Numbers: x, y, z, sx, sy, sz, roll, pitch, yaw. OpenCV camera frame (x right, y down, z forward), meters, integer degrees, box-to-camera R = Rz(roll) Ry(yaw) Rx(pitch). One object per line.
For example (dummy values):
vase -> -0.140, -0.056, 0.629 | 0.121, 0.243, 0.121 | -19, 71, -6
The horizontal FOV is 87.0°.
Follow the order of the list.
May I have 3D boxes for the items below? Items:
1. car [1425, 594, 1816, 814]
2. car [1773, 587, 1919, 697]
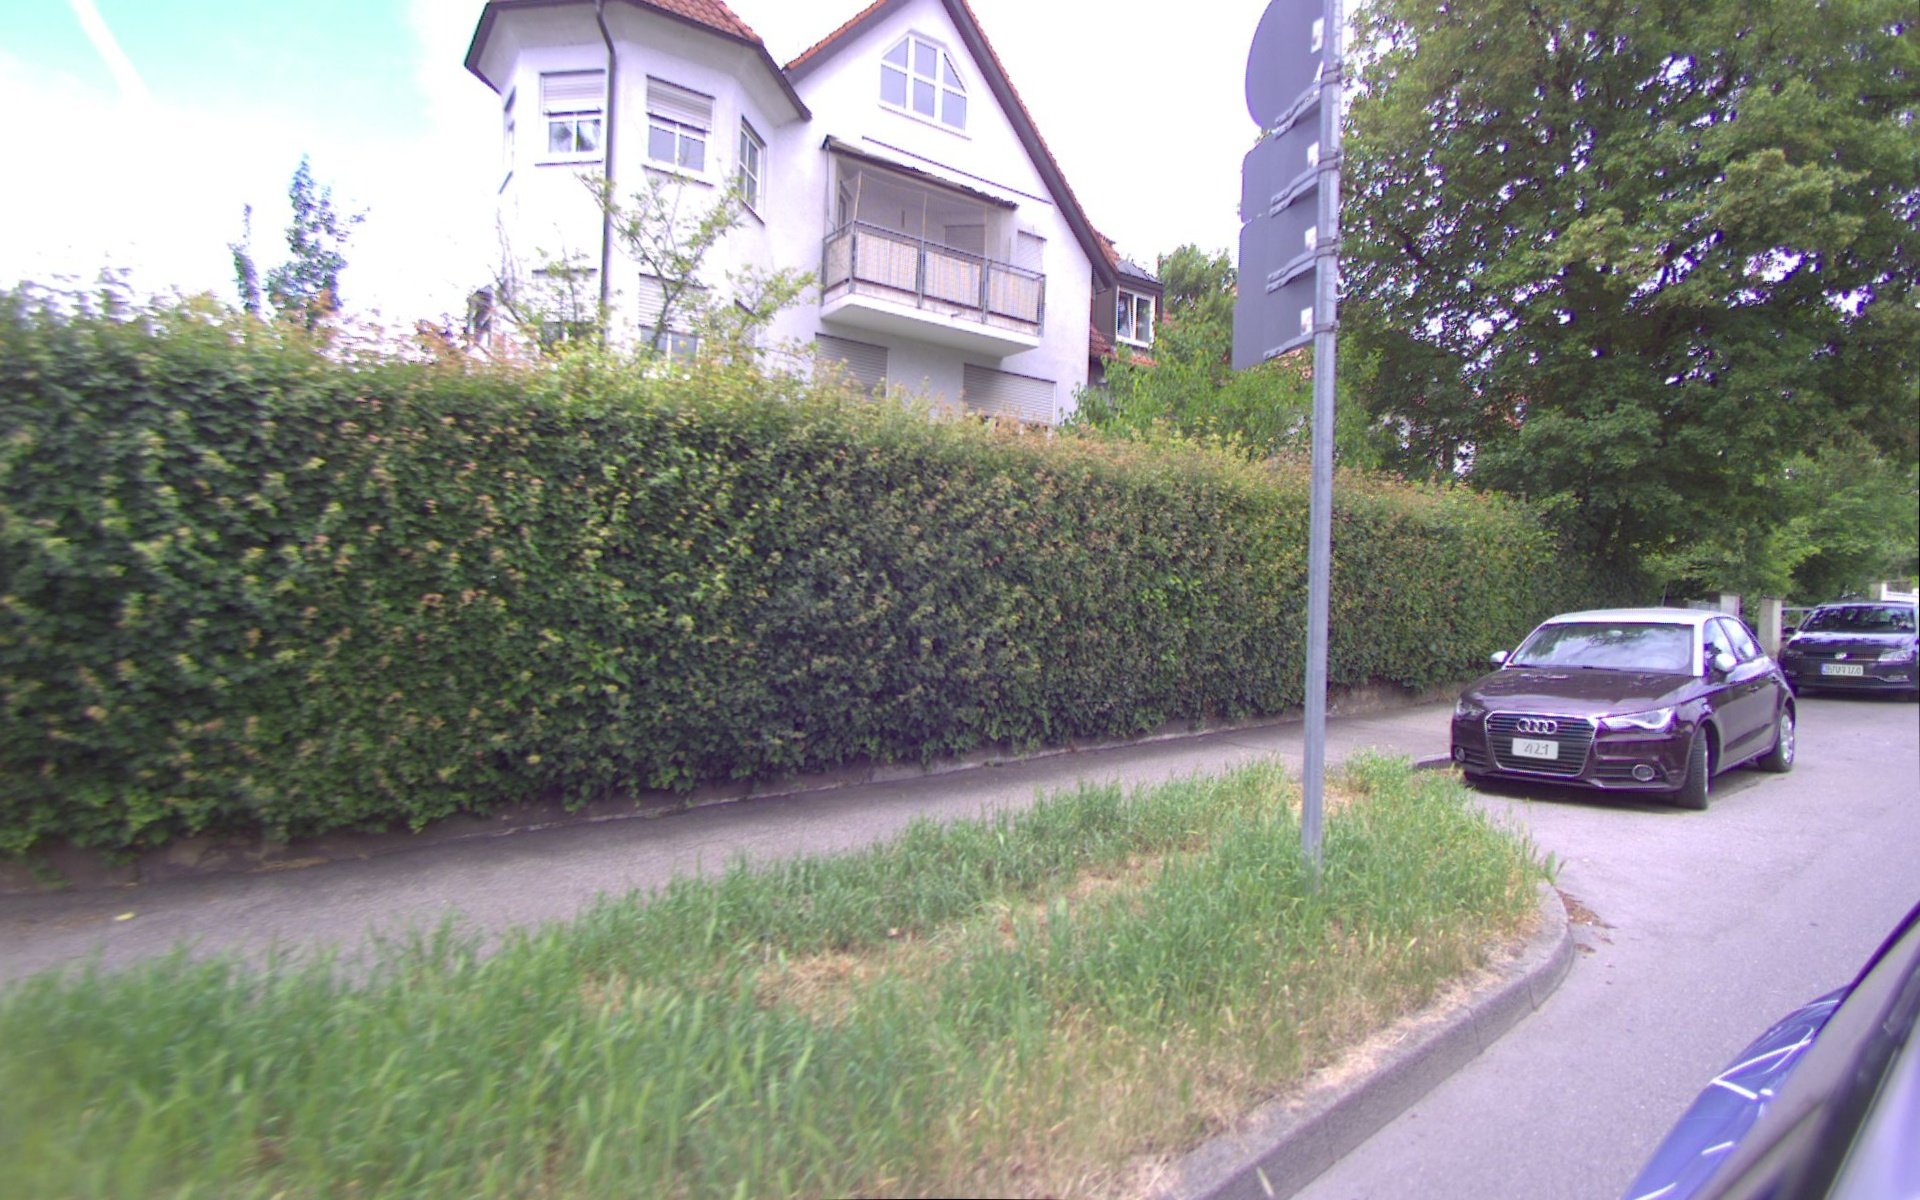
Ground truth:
car -> 5.615, 0.684, 8.450 | 3.723, 1.431, 1.713 | 0, -1, -40
car -> 14.064, 0.552, 15.555 | 3.722, 1.506, 1.713 | -1, 1, -39
